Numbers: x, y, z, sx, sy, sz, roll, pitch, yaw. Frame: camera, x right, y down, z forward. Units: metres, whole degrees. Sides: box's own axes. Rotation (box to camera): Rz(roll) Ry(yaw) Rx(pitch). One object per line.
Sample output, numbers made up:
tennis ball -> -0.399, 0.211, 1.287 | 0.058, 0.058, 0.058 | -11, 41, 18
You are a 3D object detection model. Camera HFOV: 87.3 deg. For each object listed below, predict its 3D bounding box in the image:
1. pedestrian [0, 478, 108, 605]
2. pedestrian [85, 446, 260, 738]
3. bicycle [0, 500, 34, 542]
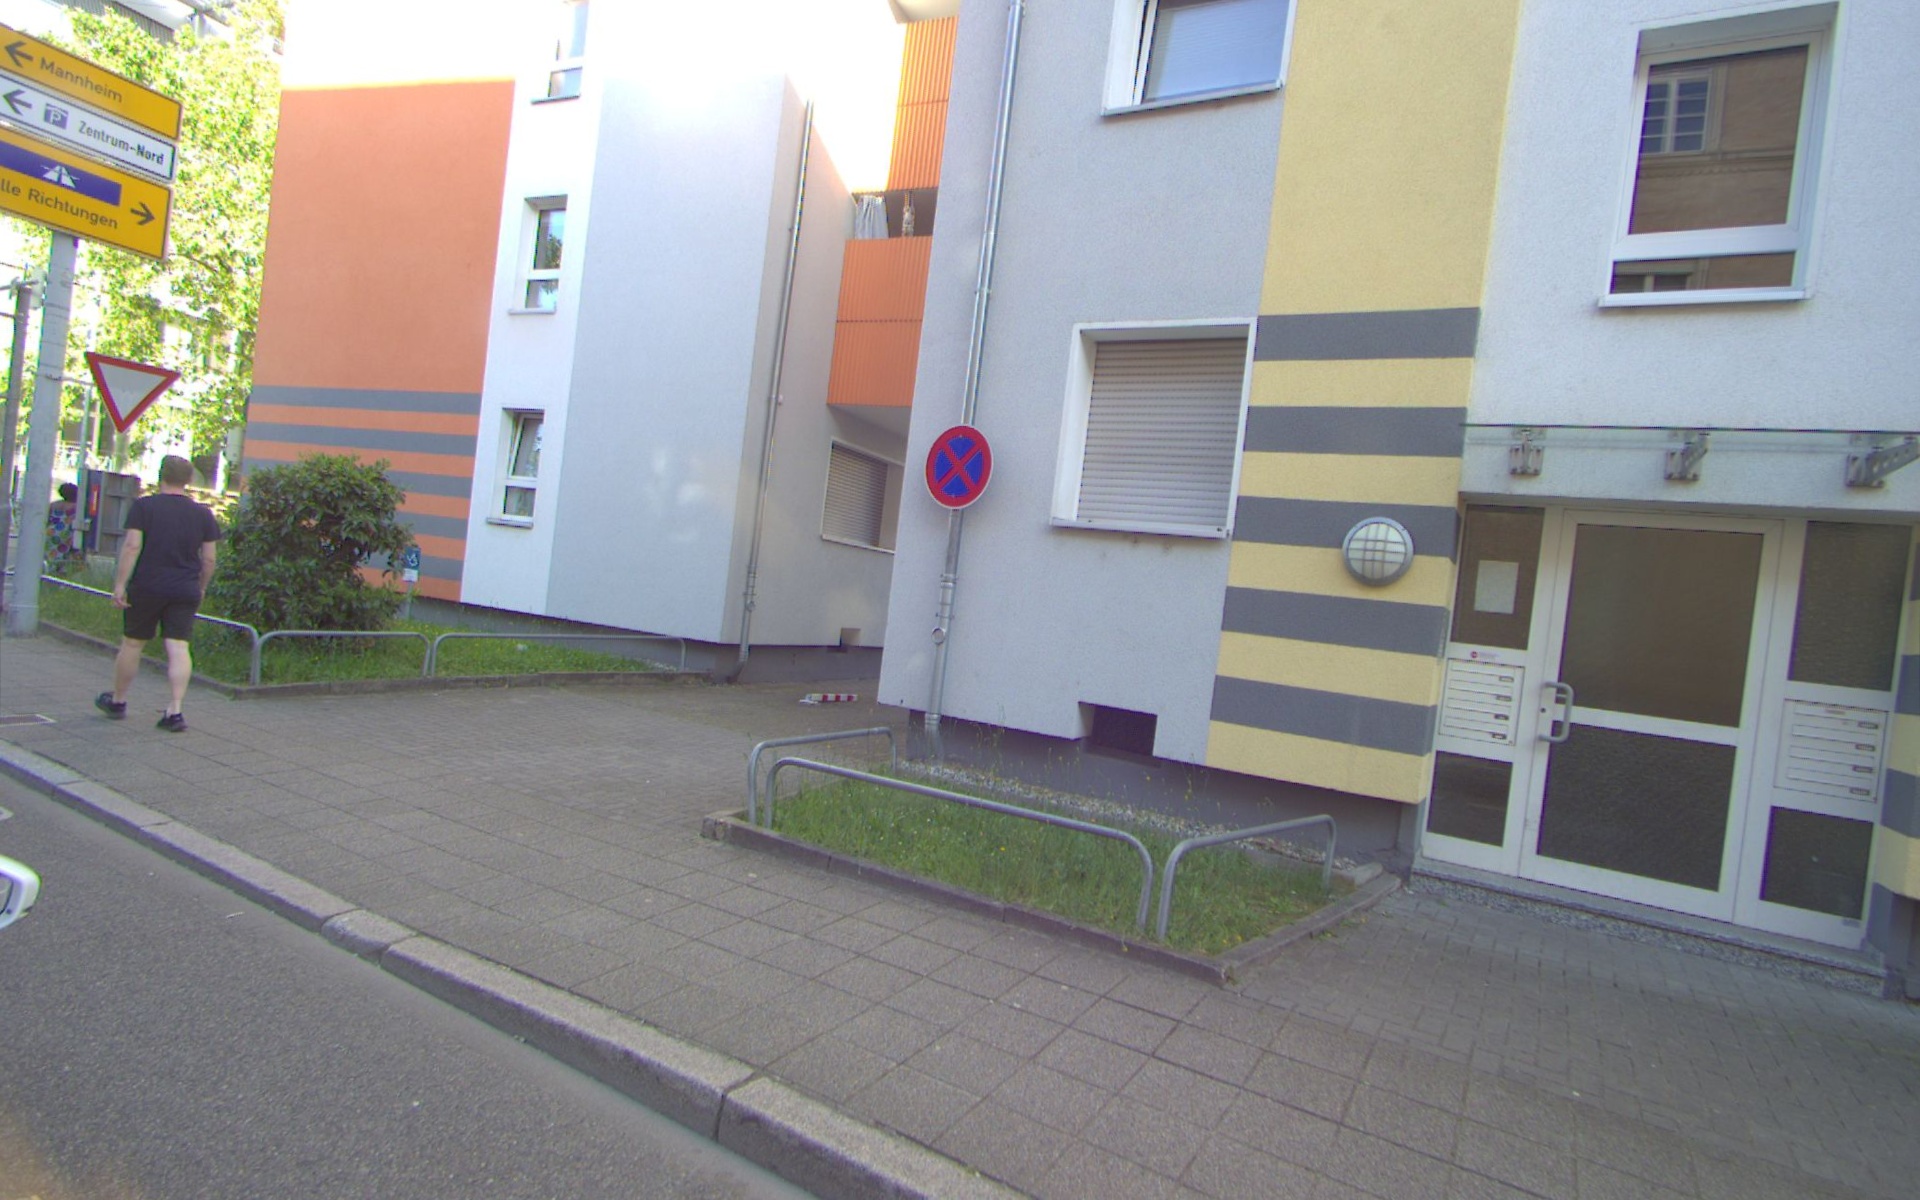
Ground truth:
pedestrian -> -12.297, -0.787, 13.567 | 0.941, 1.595, 0.747 | 4, 4, -14
pedestrian -> -5.306, -0.075, 6.774 | 0.901, 1.813, 0.643 | 7, 4, 35
bicycle -> -26.407, -2.232, 27.281 | 1.883, 1.062, 0.463 | 7, 1, -10
